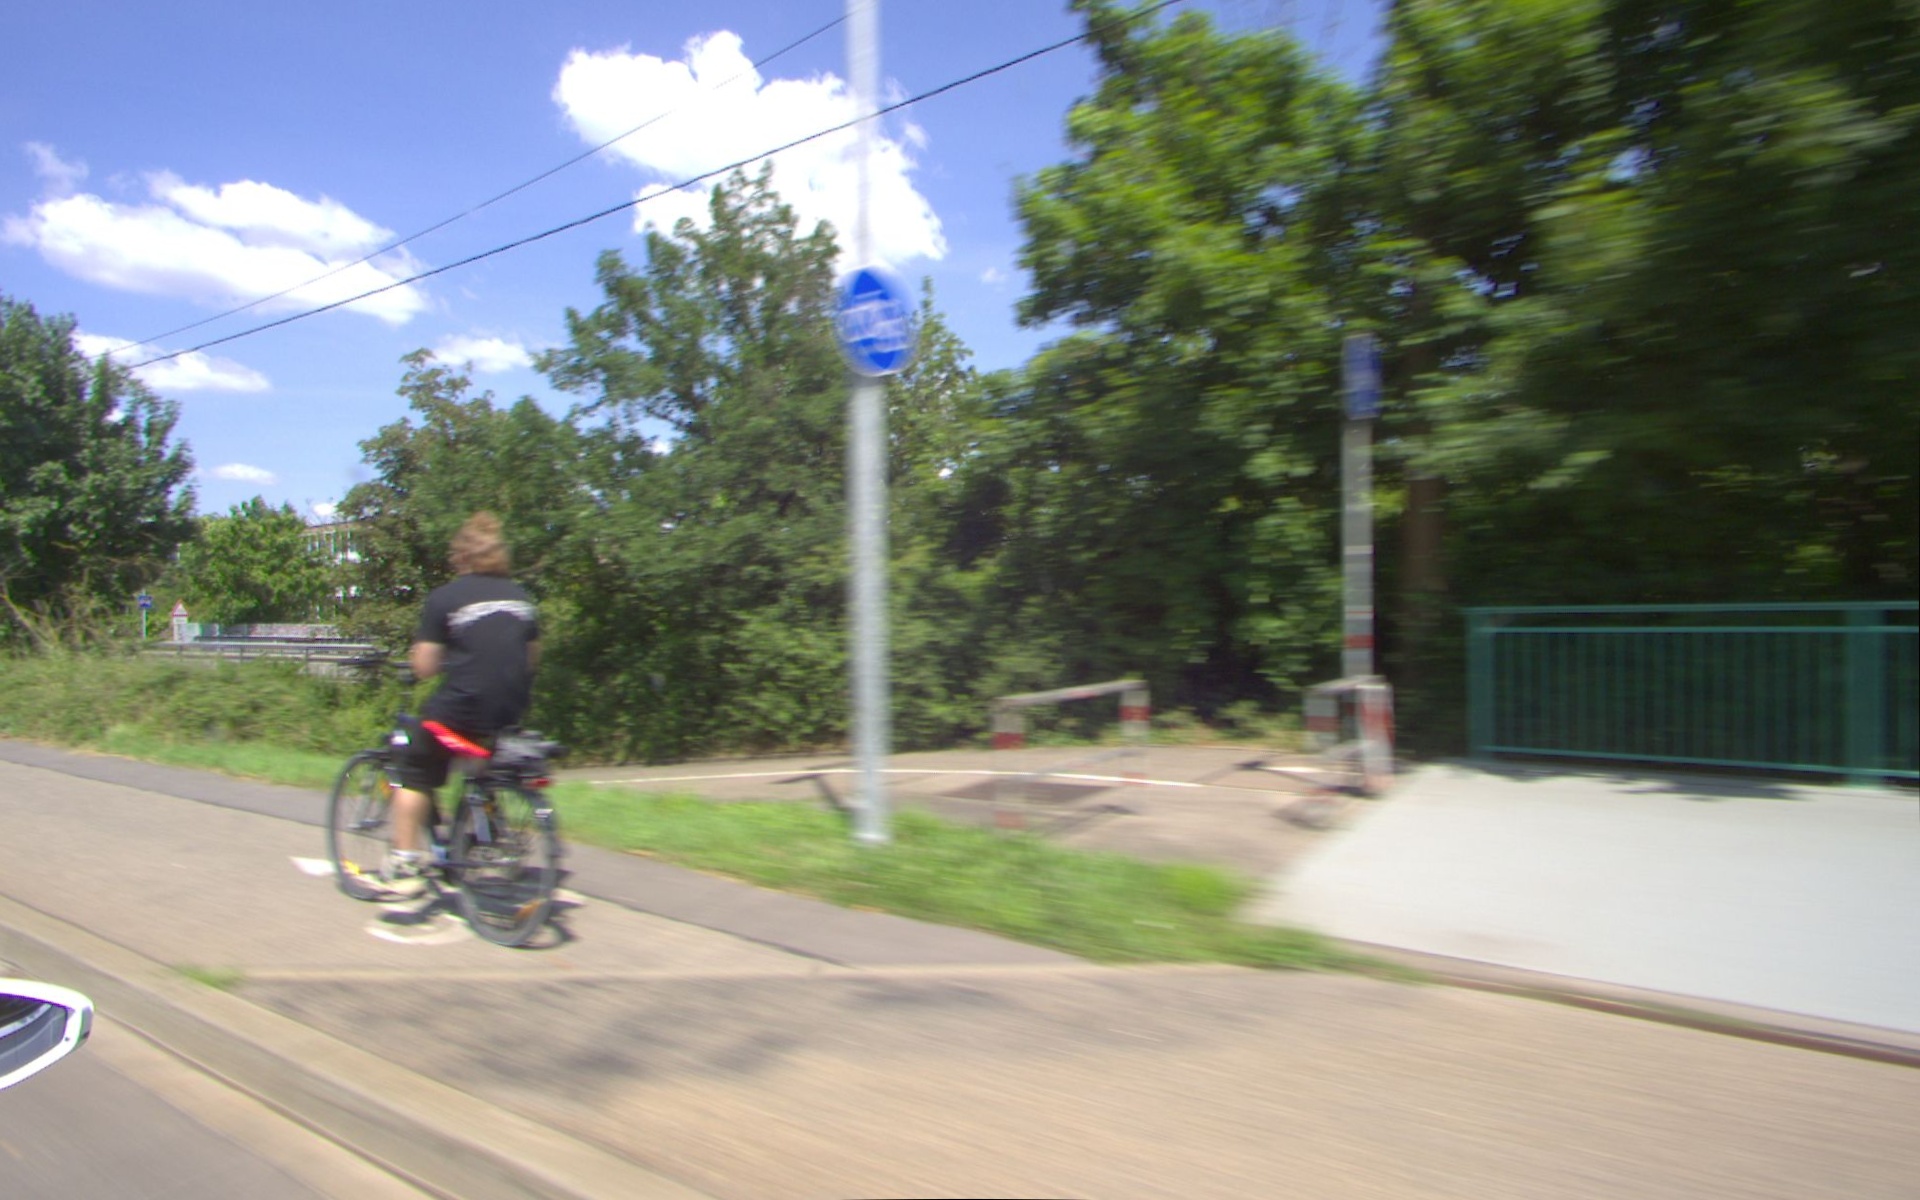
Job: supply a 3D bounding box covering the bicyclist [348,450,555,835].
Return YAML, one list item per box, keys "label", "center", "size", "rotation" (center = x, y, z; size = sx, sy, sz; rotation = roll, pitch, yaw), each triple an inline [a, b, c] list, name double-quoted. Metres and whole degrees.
- label: "bicyclist"
  center: [-2.193, 0.175, 4.331]
  size: [0.550, 1.514, 0.583]
  rotation: [1, -1, 37]

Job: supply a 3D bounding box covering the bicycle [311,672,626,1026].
- label: "bicycle"
  center: [-2.184, 0.944, 4.326]
  size: [1.831, 1.167, 0.431]
  rotation: [1, -1, 38]
